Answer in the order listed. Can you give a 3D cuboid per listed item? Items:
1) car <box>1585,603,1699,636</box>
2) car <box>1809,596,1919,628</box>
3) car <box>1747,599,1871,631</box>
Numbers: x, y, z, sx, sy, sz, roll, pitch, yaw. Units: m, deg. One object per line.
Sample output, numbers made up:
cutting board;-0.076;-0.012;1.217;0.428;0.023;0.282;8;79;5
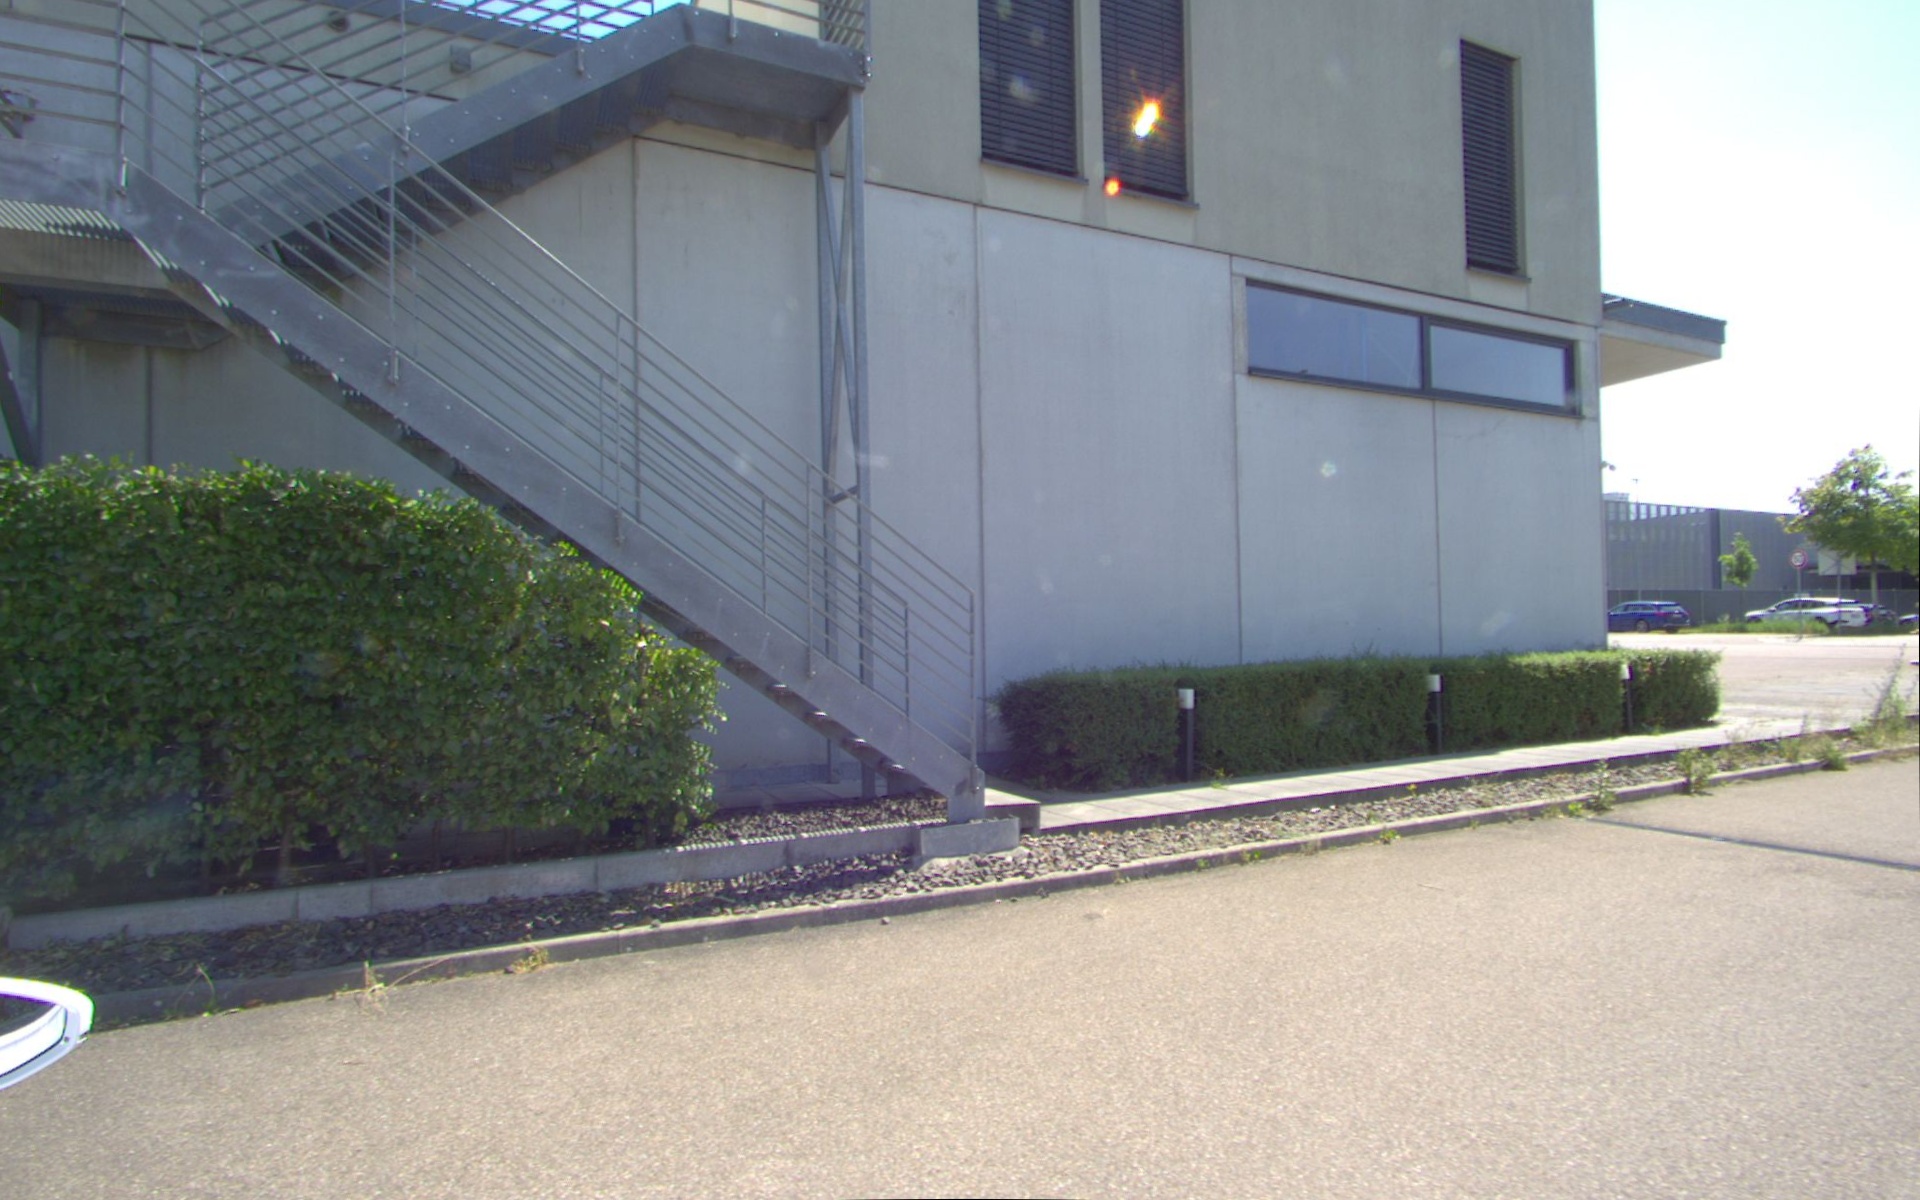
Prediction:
car;31.393;0.927;46.250;1.717;1.433;4.445;1;-2;-11
car;44.337;0.621;48.982;1.717;1.433;4.063;1;-2;-13
car;40.809;0.758;48.277;1.717;1.433;4.444;1;-2;-13
